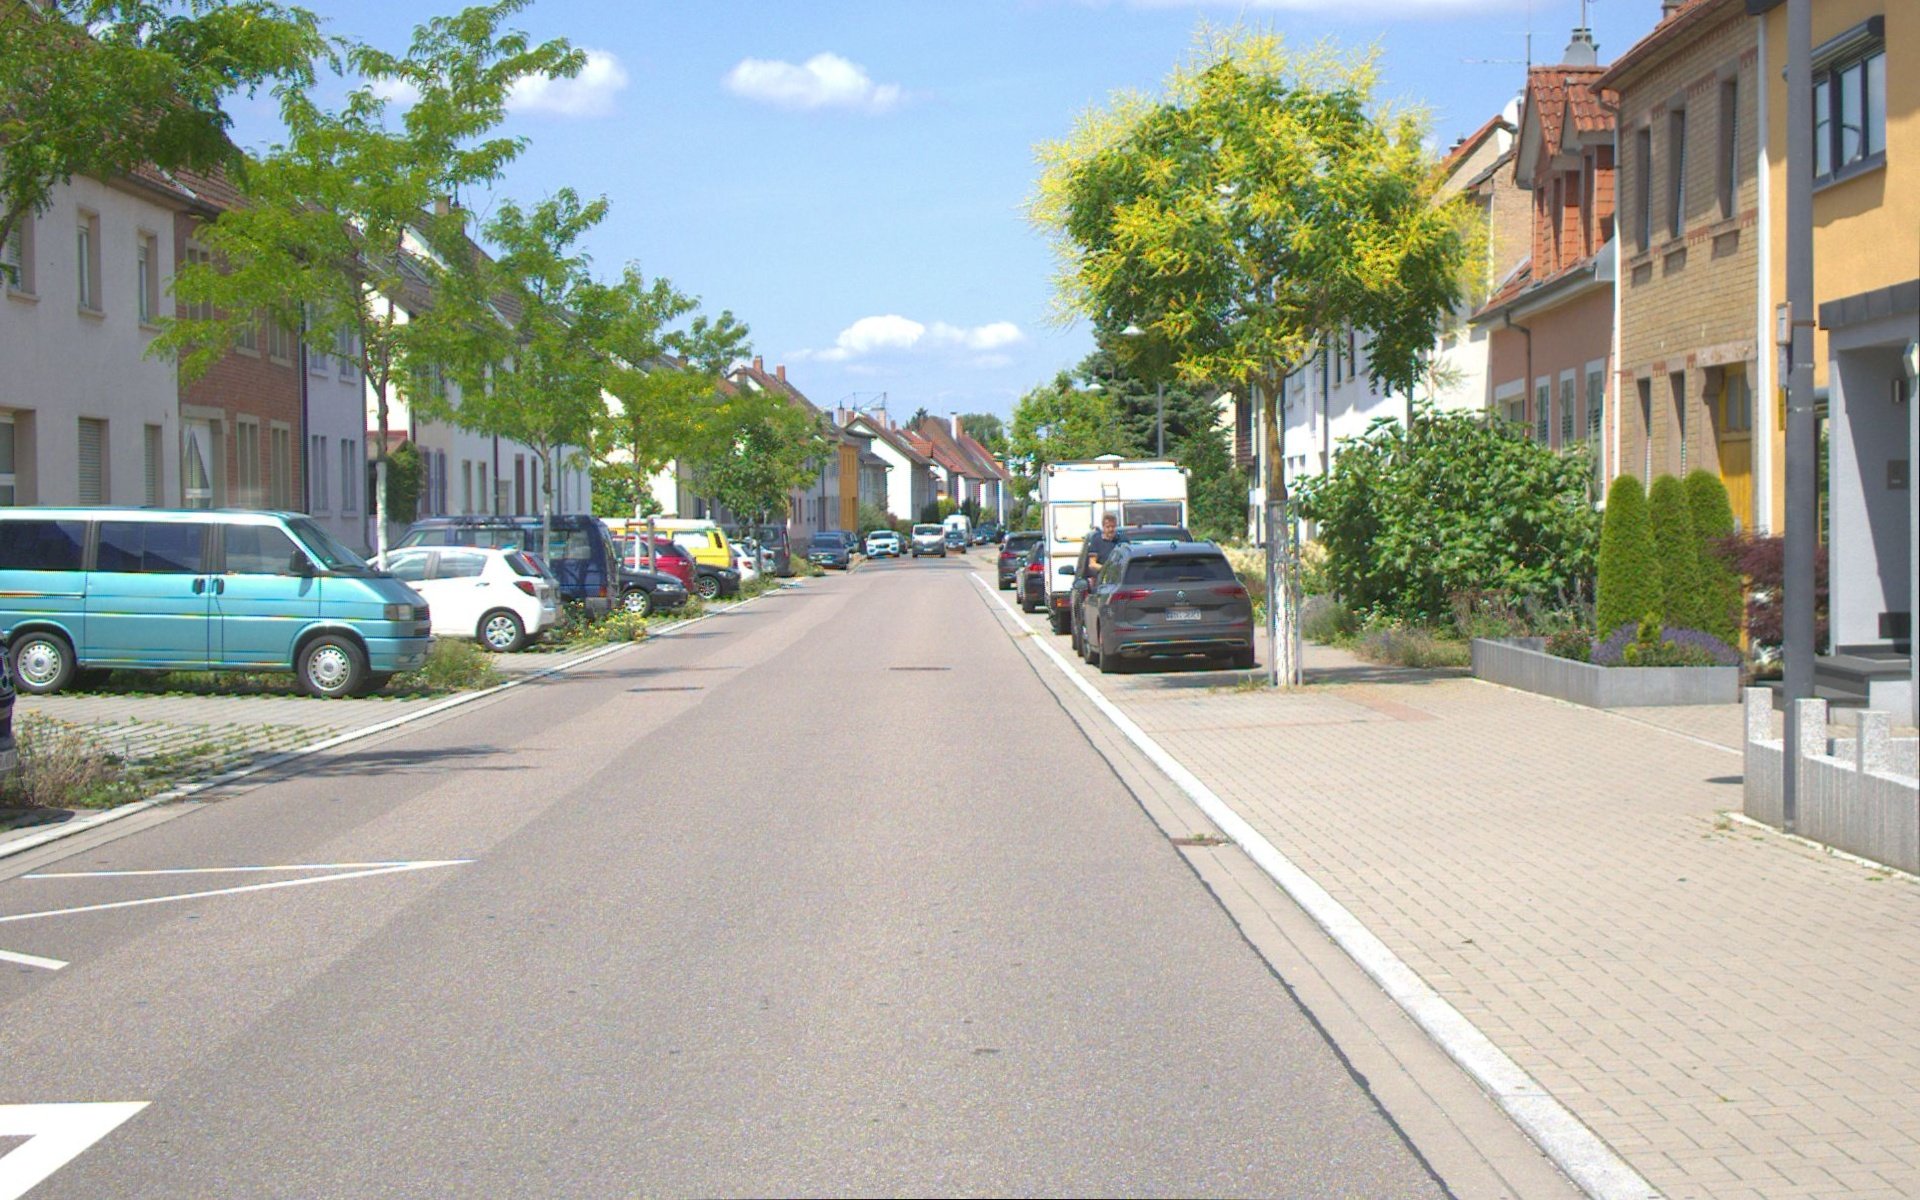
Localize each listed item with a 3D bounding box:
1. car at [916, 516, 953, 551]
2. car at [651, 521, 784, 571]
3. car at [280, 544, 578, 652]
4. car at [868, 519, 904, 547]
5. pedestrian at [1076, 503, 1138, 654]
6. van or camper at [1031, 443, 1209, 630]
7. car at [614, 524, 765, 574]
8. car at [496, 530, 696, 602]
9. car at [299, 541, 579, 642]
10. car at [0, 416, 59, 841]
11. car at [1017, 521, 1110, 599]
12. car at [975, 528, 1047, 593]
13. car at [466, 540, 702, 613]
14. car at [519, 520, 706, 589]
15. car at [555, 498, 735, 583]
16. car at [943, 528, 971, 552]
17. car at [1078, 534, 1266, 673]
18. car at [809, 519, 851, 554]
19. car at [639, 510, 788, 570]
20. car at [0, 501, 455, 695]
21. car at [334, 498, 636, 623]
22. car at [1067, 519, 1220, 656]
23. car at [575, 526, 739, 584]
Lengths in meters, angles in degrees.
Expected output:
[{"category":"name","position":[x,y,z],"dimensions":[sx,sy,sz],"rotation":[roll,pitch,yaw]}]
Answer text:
[{"category":"car","position":[-1.497,-3.874,200.821],"dimensions":[2.022,1.943,4.899],"rotation":[-2,1,-1]},{"category":"car","position":[-7.684,-1.716,109.006],"dimensions":[4.182,1.563,1.774],"rotation":[0,1,-3]},{"category":"car","position":[-7.523,-0.037,48.946],"dimensions":[3.916,1.483,1.772],"rotation":[0,1,2]},{"category":"car","position":[-4.412,-4.018,205.700],"dimensions":[1.850,1.653,4.000],"rotation":[1,1,3]},{"category":"pedestrian","position":[1.824,-0.270,42.680],"dimensions":[0.716,1.846,0.578],"rotation":[-1,1,0]},{"category":"van or camper","position":[2.537,-1.065,56.044],"dimensions":[2.473,2.800,5.791],"rotation":[-2,2,0]},{"category":"car","position":[-8.013,-1.511,102.130],"dimensions":[4.295,1.463,1.774],"rotation":[0,1,2]},{"category":"car","position":[-7.617,-0.730,72.228],"dimensions":[4.053,1.473,1.776],"rotation":[0,1,-2]},{"category":"car","position":[-7.825,-0.140,51.886],"dimensions":[3.916,1.483,1.772],"rotation":[0,1,2]},{"category":"car","position":[-7.732,0.136,18.638],"dimensions":[5.166,2.280,2.158],"rotation":[0,1,-2]},{"category":"car","position":[2.102,-0.848,70.728],"dimensions":[1.767,1.524,4.007],"rotation":[-1,1,0]},{"category":"car","position":[1.471,-1.141,97.973],"dimensions":[1.864,1.630,4.446],"rotation":[-3,2,2]},{"category":"car","position":[-7.466,-0.480,68.572],"dimensions":[4.524,1.420,1.796],"rotation":[0,1,0]},{"category":"car","position":[-8.226,-1.080,81.677],"dimensions":[4.253,1.606,1.843],"rotation":[0,1,-1]},{"category":"car","position":[-8.178,-1.557,89.551],"dimensions":[4.508,2.170,1.925],"rotation":[0,1,0]},{"category":"car","position":[-0.202,-4.028,229.456],"dimensions":[1.762,1.517,4.049],"rotation":[-3,1,-1]},{"category":"car","position":[2.402,-0.005,39.887],"dimensions":[1.766,1.483,4.297],"rotation":[-1,1,-2]},{"category":"car","position":[-5.932,-2.915,156.802],"dimensions":[1.816,1.428,4.140],"rotation":[2,3,-3]},{"category":"car","position":[-7.985,-1.954,111.712],"dimensions":[4.700,1.916,1.938],"rotation":[0,1,0]},{"category":"car","position":[-7.643,-0.034,35.054],"dimensions":[4.677,1.900,2.000],"rotation":[0,1,1]},{"category":"car","position":[-7.715,-0.654,56.145],"dimensions":[4.613,1.989,1.953],"rotation":[0,1,2]},{"category":"car","position":[2.372,-0.207,45.351],"dimensions":[1.767,1.699,4.325],"rotation":[-1,1,0]},{"category":"car","position":[-7.656,-1.149,87.115],"dimensions":[4.010,1.454,1.755],"rotation":[0,1,0]}]
